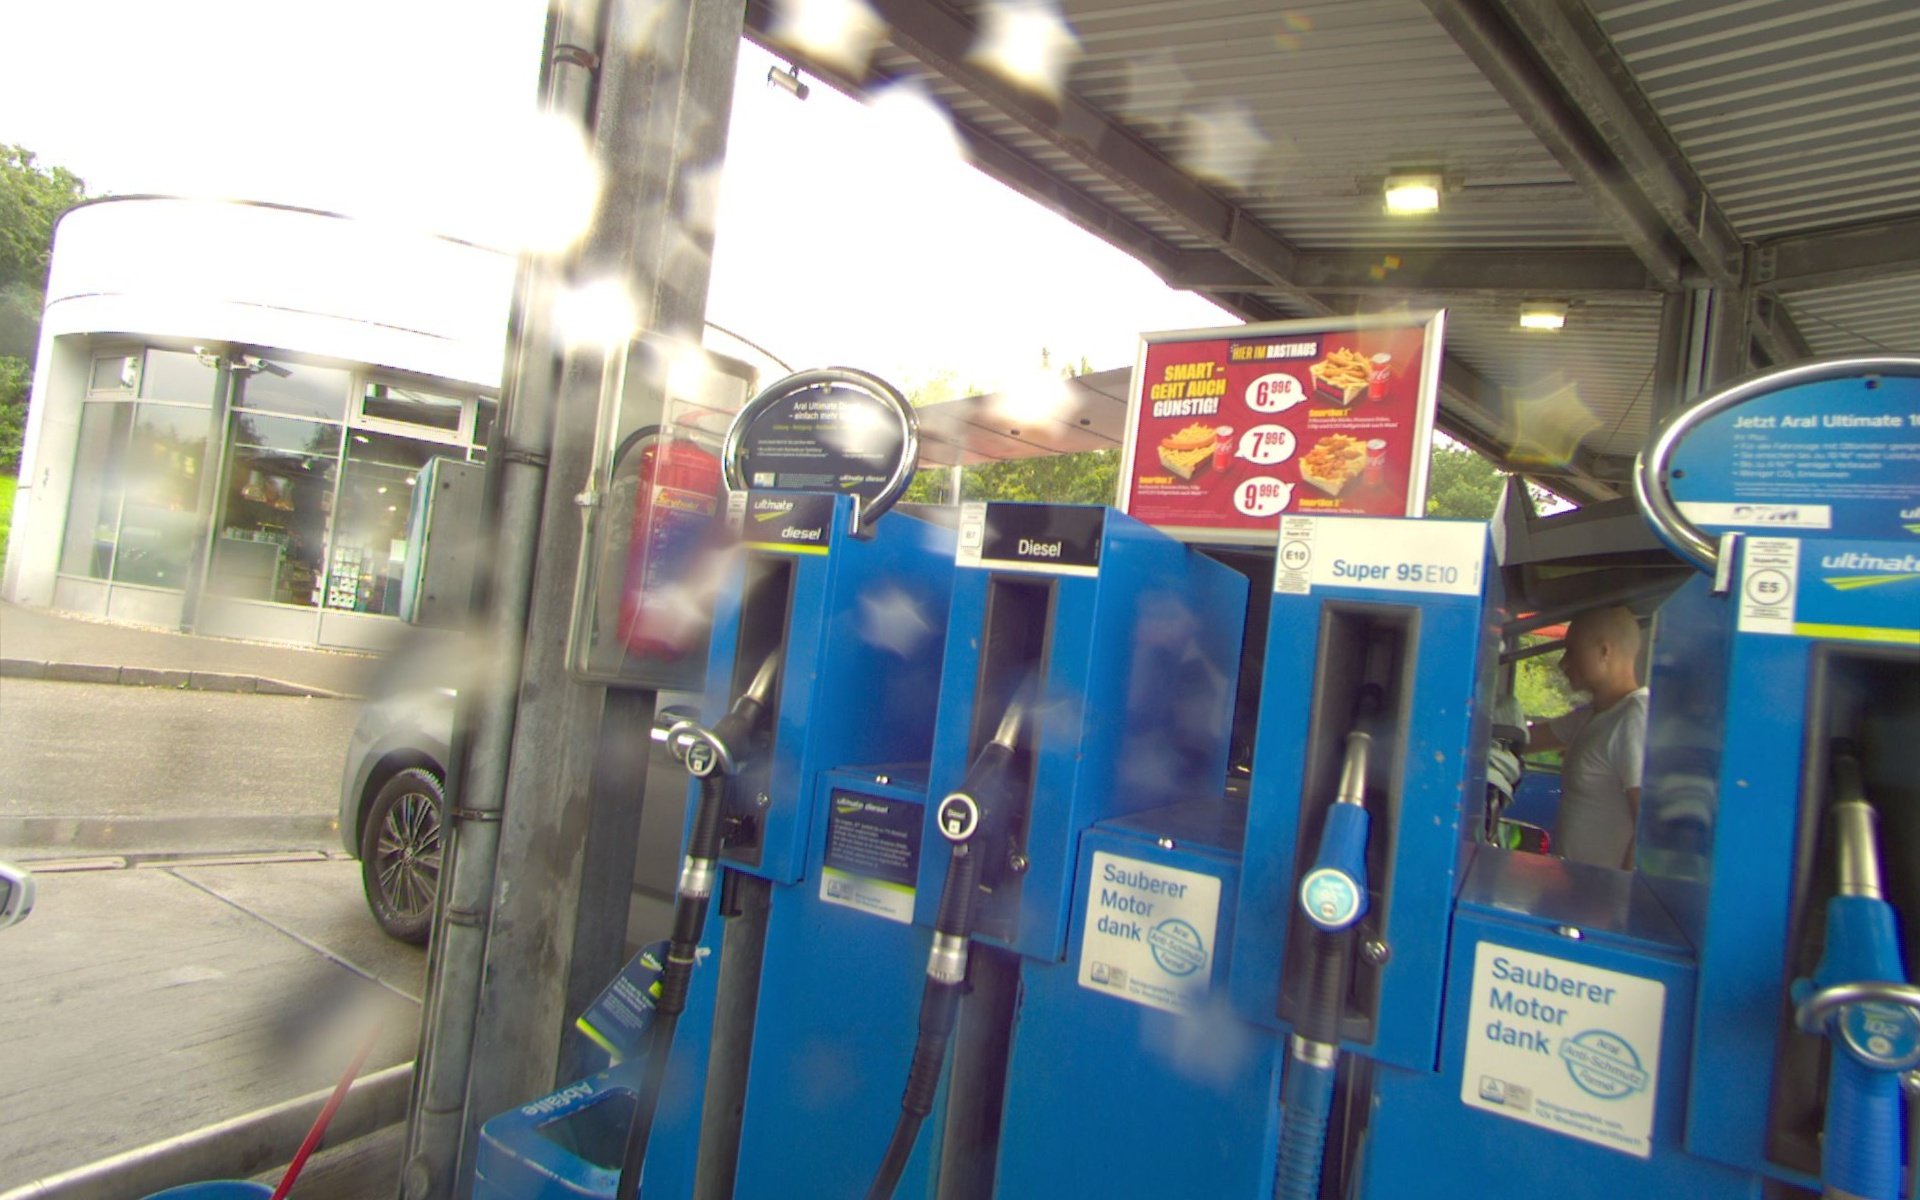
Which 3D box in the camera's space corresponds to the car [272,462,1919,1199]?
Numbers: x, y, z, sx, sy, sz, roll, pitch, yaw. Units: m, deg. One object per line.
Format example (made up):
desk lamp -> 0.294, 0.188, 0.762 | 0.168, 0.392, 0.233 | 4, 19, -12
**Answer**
car -> -0.159, 0.645, 3.685 | 5.055, 1.819, 1.865 | 6, -2, 32
